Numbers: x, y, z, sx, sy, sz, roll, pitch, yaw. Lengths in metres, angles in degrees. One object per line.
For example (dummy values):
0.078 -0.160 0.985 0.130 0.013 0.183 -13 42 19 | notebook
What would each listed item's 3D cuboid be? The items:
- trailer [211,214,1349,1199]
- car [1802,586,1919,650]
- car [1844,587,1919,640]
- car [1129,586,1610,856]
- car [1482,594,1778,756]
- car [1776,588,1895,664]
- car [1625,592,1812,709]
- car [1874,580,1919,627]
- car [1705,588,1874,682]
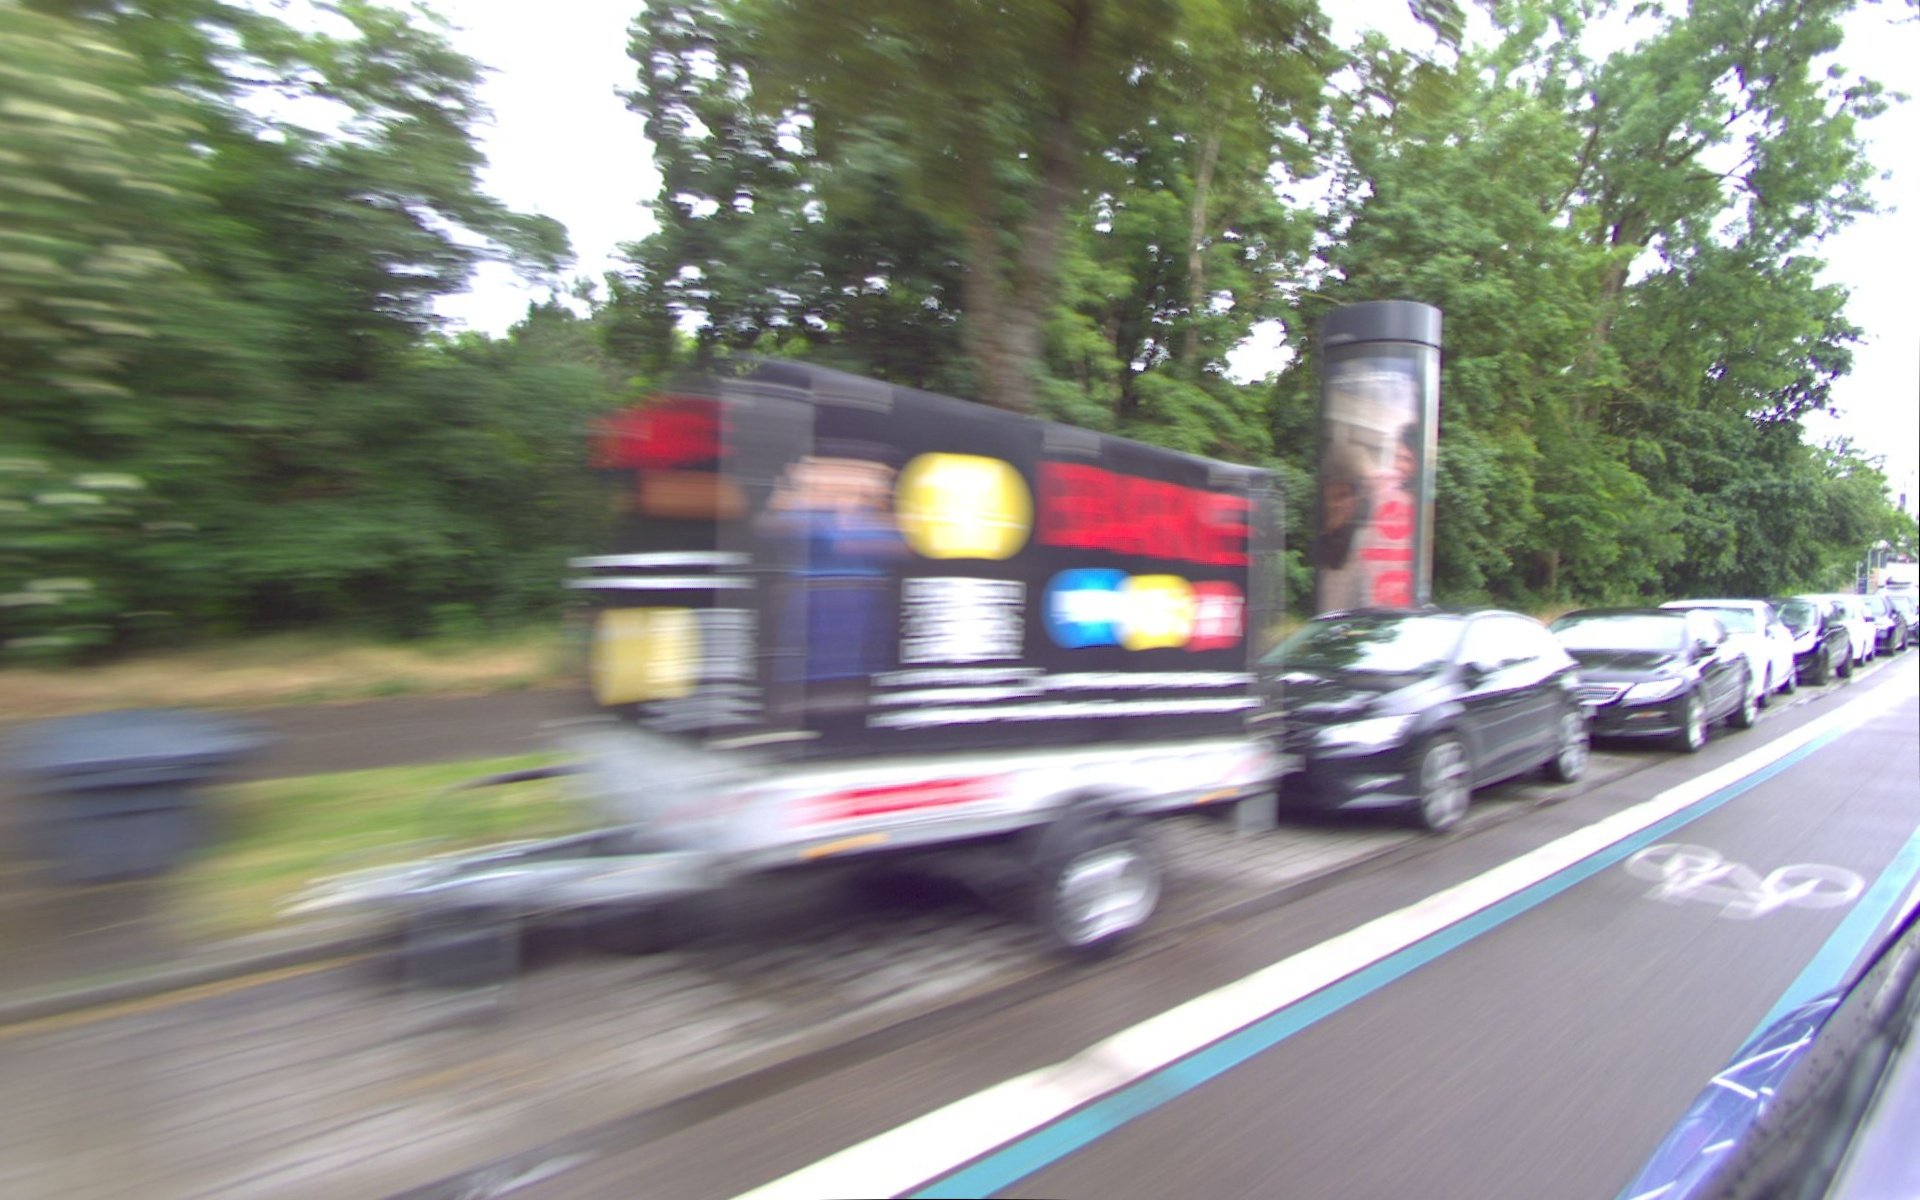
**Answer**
-0.351 0.262 4.498 4.684 2.276 1.909 0 1 -41 | trailer
22.917 0.392 25.566 4.669 1.473 1.859 -1 0 -42 | car
27.273 0.349 29.582 4.314 1.417 1.853 -1 0 -45 | car
3.299 0.672 7.731 4.129 1.504 1.824 -1 -1 -43 | car
7.523 0.674 11.176 4.371 1.411 1.753 -1 -1 -43 | car
18.921 0.498 21.825 3.614 1.479 1.561 -1 0 -43 | car
11.325 0.643 15.006 3.934 1.485 1.619 -1 0 -44 | car
34.553 0.095 36.710 4.183 1.635 1.823 -1 0 -45 | car
14.813 0.564 18.014 3.831 1.484 1.661 -1 -1 -41 | car
